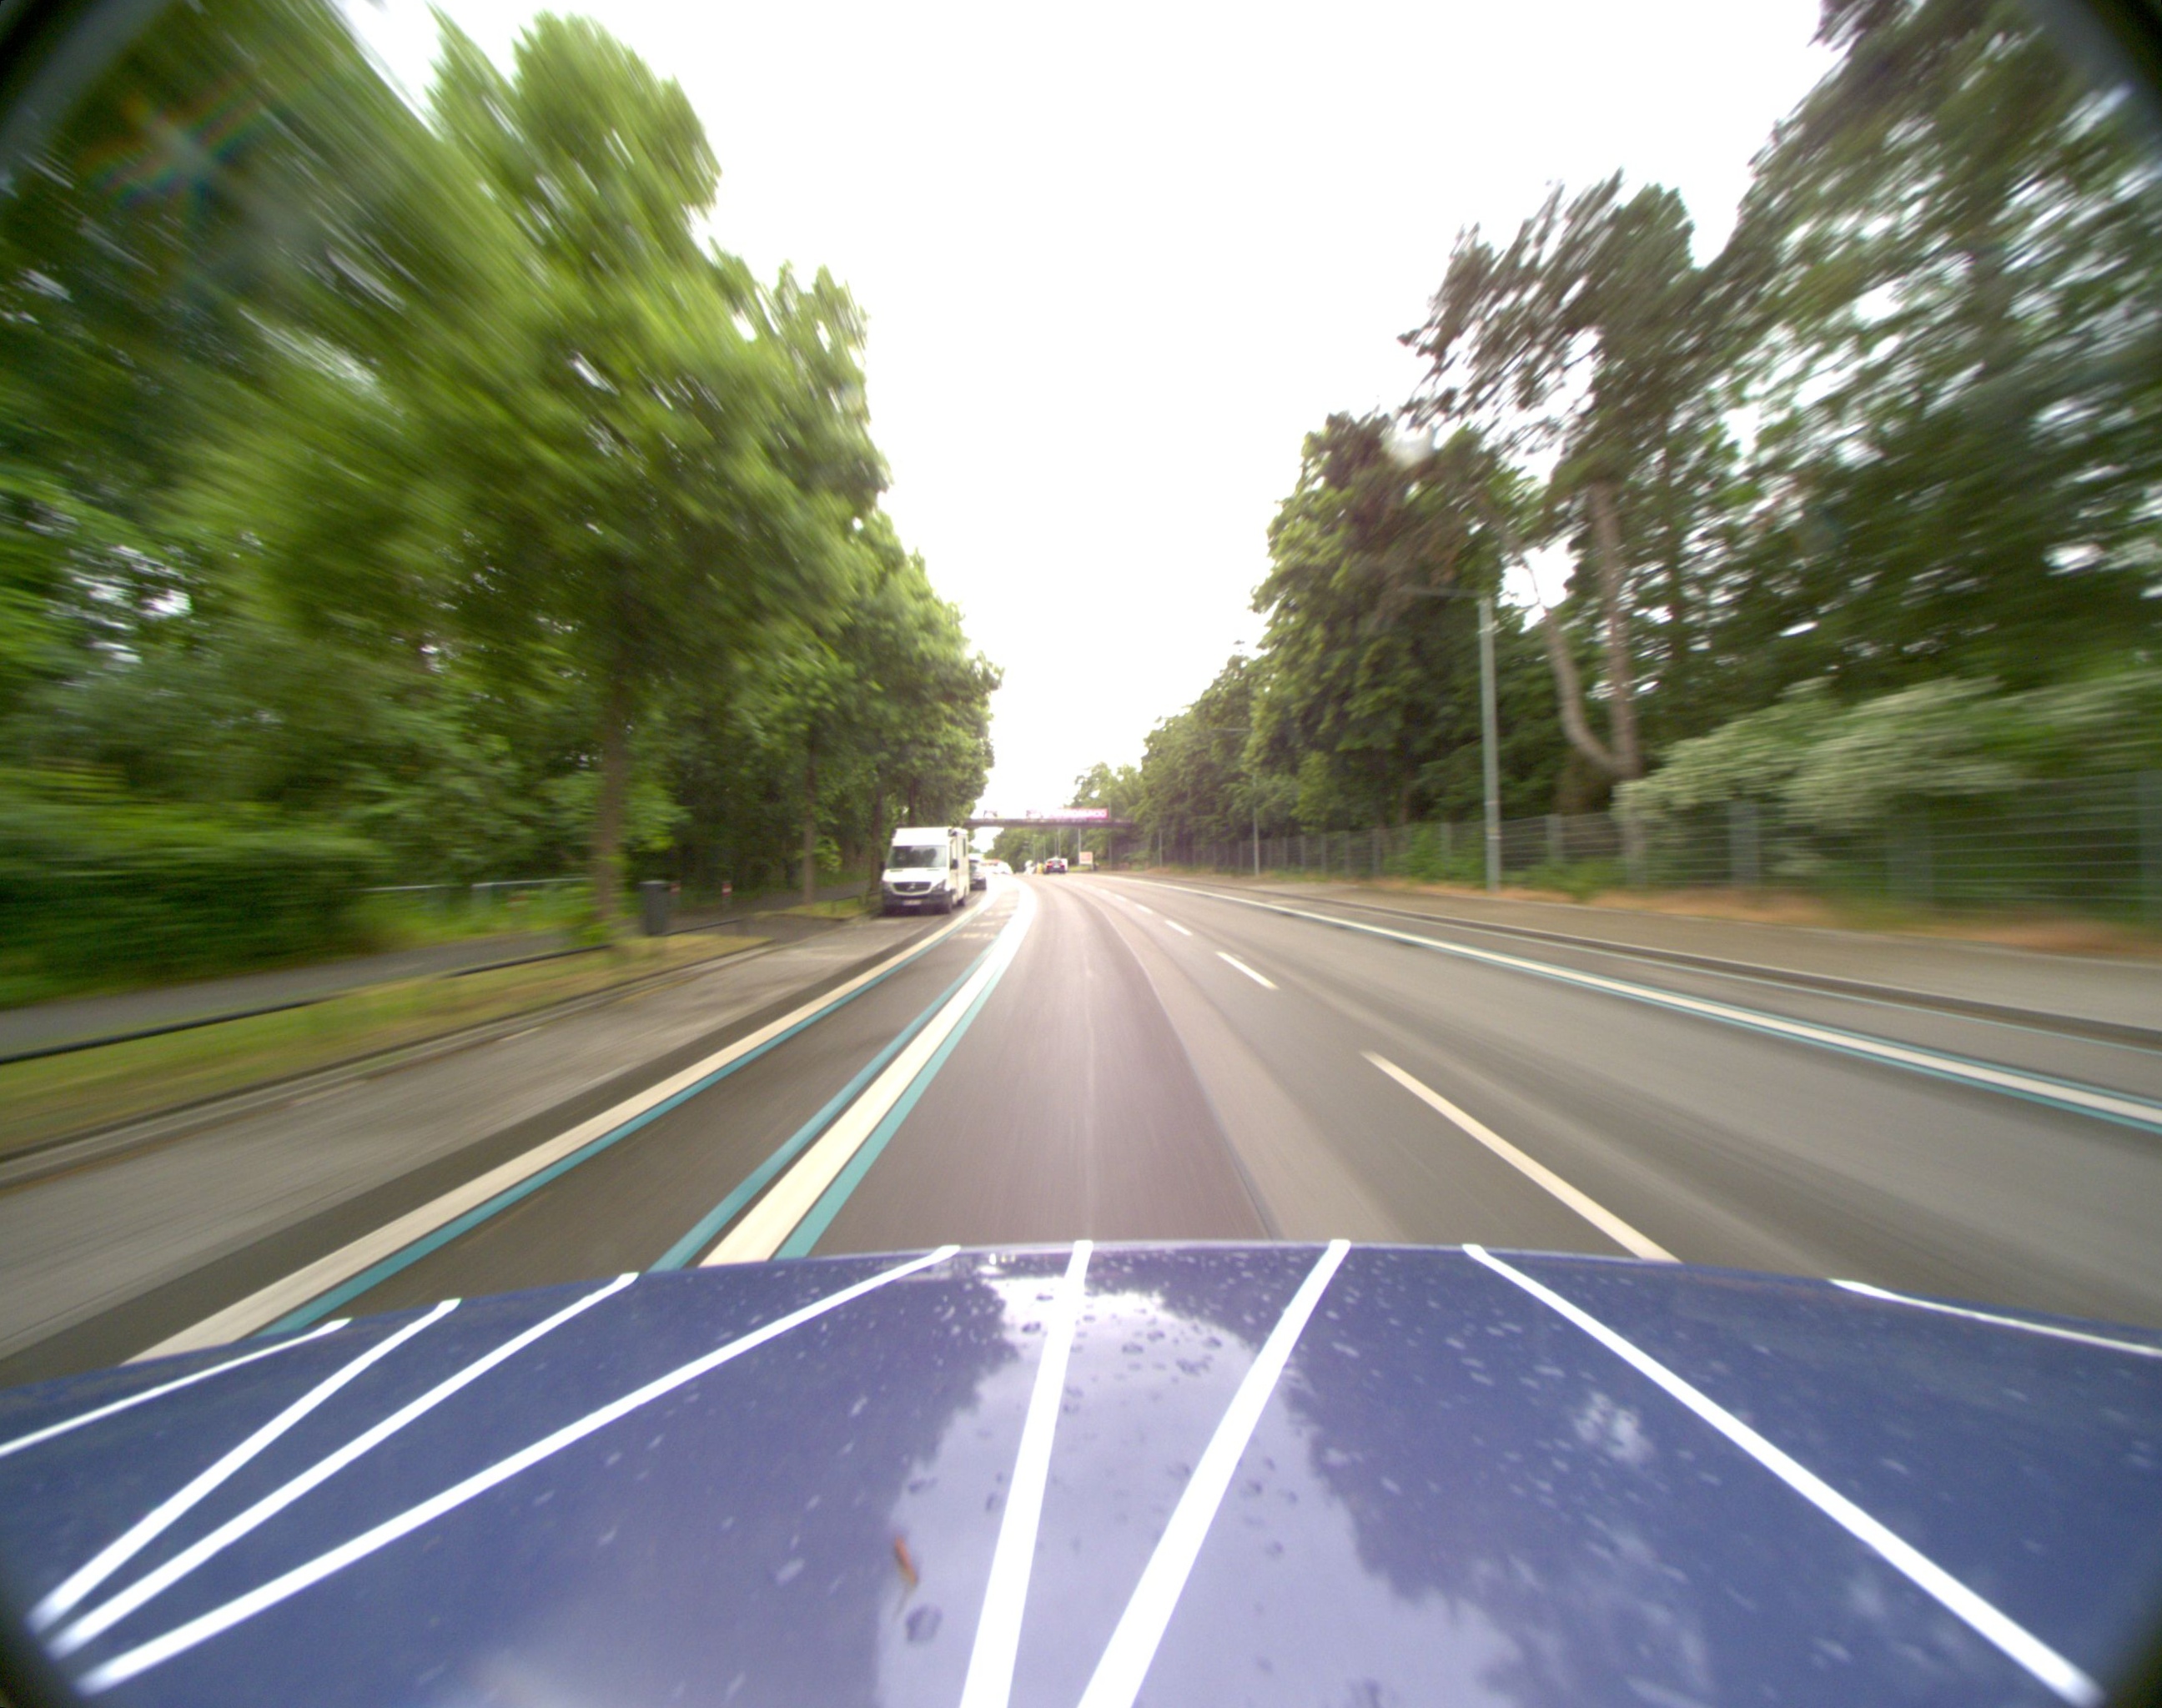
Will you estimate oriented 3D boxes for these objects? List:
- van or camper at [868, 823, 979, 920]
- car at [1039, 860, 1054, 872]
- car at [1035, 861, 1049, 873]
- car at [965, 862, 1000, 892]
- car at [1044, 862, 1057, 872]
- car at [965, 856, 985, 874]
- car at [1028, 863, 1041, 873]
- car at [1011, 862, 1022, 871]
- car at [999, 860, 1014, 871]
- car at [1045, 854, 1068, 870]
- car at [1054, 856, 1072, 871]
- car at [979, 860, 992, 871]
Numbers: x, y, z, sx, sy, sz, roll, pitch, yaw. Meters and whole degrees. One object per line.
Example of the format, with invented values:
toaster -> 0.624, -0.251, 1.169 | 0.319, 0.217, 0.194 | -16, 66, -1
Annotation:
van or camper -> -4.849, 0.483, 24.556 | 2.323, 2.649, 6.381 | -2, 0, -1
car -> -5.810, 2.062, 129.012 | 2.000, 1.901, 4.842 | -1, -2, -9
car -> -6.991, 2.330, 134.897 | 1.883, 1.908, 5.202 | 1, -2, -9
car -> -5.177, 1.151, 39.825 | 1.684, 1.368, 3.996 | -1, 1, -8
car -> -4.993, 2.173, 123.488 | 1.715, 1.495, 4.149 | 0, -2, -8
car -> -10.019, 0.976, 71.716 | 1.719, 1.609, 4.257 | -1, 0, -10
car -> -9.252, 2.820, 150.950 | 1.878, 1.965, 4.732 | 0, -2, -10
car -> -12.021, 2.404, 141.544 | 1.802, 1.567, 4.099 | -1, 0, -8
car -> -10.232, 1.594, 104.529 | 1.829, 1.453, 3.880 | -2, -1, -9
car -> -2.423, 0.758, 73.561 | 1.766, 1.428, 4.147 | -2, 0, -8
car -> -2.495, 1.387, 104.960 | 1.985, 1.902, 5.226 | -1, -2, -6
car -> -14.074, 1.696, 112.114 | 1.727, 1.389, 4.588 | -1, -2, -9
